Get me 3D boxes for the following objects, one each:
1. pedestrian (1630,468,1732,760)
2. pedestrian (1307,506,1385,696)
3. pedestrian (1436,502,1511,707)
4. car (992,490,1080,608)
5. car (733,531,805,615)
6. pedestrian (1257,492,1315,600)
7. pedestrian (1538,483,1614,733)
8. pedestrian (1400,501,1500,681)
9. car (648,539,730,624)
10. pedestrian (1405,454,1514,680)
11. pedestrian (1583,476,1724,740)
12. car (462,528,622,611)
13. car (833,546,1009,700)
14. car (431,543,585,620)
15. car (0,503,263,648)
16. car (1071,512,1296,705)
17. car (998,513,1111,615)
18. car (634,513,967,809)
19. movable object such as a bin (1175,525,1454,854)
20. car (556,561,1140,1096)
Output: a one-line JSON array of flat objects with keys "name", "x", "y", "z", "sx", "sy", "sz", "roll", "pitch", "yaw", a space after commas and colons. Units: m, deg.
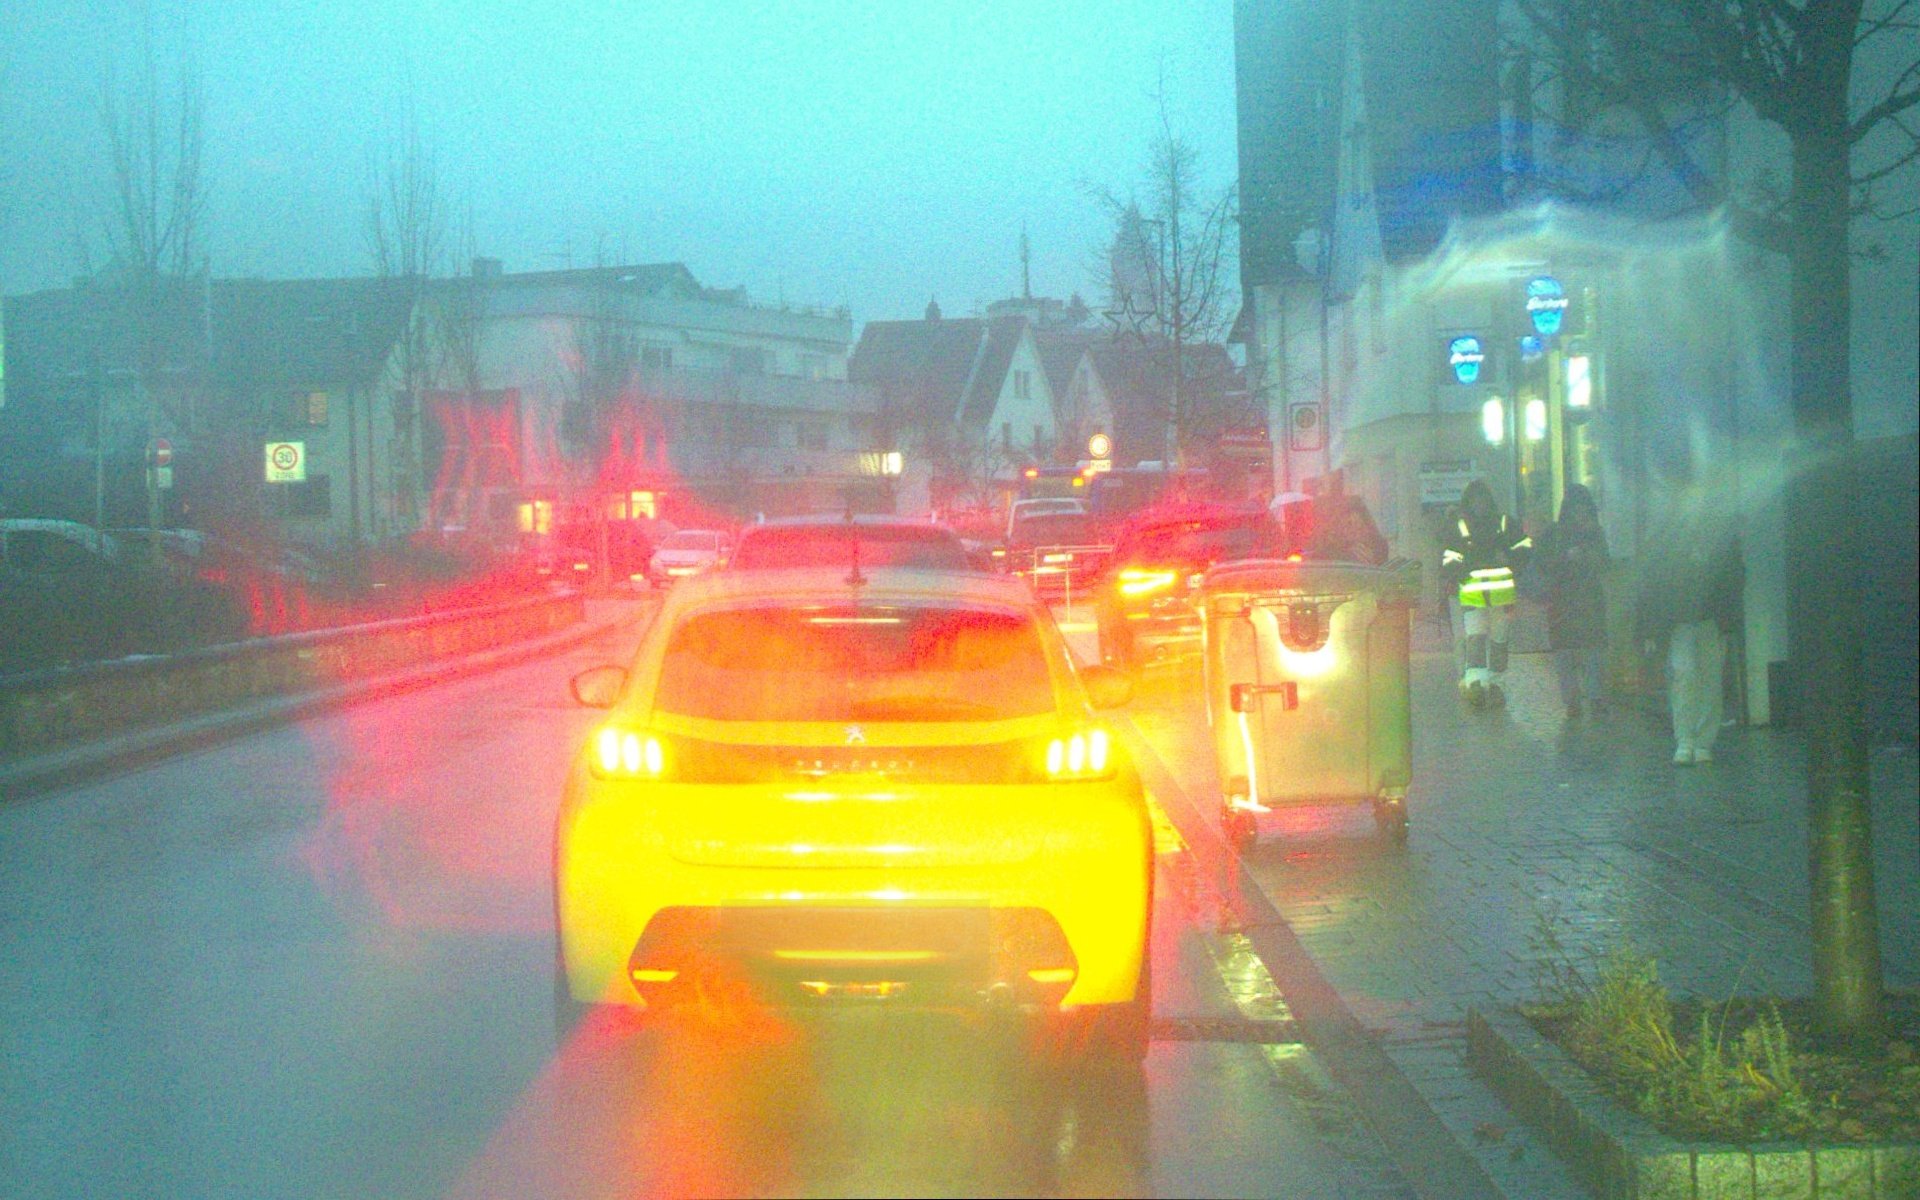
[{"name": "pedestrian", "x": 4.160, "y": 0.086, "z": 19.881, "sx": 0.529, "sy": 1.647, "sz": 0.953, "roll": 0, "pitch": -1, "yaw": 9}, {"name": "pedestrian", "x": 3.517, "y": 0.002, "z": 31.384, "sx": 0.573, "sy": 1.694, "sz": 0.653, "roll": -3, "pitch": 0, "yaw": 1}, {"name": "pedestrian", "x": 4.195, "y": 0.021, "z": 28.040, "sx": 0.480, "sy": 1.625, "sz": 1.018, "roll": -2, "pitch": 2, "yaw": 13}, {"name": "car", "x": 1.683, "y": -1.106, "z": 77.020, "sx": 1.870, "sy": 2.460, "sz": 4.443, "roll": 1, "pitch": -1, "yaw": 1}, {"name": "car", "x": -5.277, "y": -0.720, "z": 95.180, "sx": 1.919, "sy": 2.208, "sz": 3.975, "roll": 1, "pitch": -1, "yaw": -2}, {"name": "pedestrian", "x": 4.631, "y": -0.772, "z": 48.867, "sx": 0.618, "sy": 1.510, "sz": 0.734, "roll": -1, "pitch": 2, "yaw": -14}, {"name": "pedestrian", "x": 4.502, "y": 0.049, "z": 25.156, "sx": 0.529, "sy": 1.794, "sz": 0.864, "roll": 0, "pitch": 1, "yaw": 9}, {"name": "pedestrian", "x": 4.526, "y": -0.098, "z": 31.785, "sx": 0.618, "sy": 1.621, "sz": 0.907, "roll": -1, "pitch": 2, "yaw": -14}, {"name": "car", "x": -6.872, "y": -0.446, "z": 87.438, "sx": 1.919, "sy": 2.021, "sz": 3.975, "roll": 1, "pitch": -1, "yaw": -2}, {"name": "pedestrian", "x": 3.907, "y": -0.268, "z": 26.844, "sx": 0.712, "sy": 1.709, "sz": 1.034, "roll": -2, "pitch": 2, "yaw": 13}, {"name": "pedestrian", "x": 4.564, "y": 0.055, "z": 22.673, "sx": 0.747, "sy": 1.673, "sz": 1.052, "roll": -2, "pitch": 0, "yaw": 6}, {"name": "car", "x": -11.459, "y": -0.805, "z": 94.020, "sx": 4.383, "sy": 2.159, "sz": 1.995, "roll": -1, "pitch": -2, "yaw": 44}, {"name": "car", "x": -0.366, "y": 0.174, "z": 32.052, "sx": 1.541, "sy": 1.327, "sz": 3.311, "roll": 1, "pitch": 1, "yaw": -1}, {"name": "car", "x": -12.044, "y": -0.472, "z": 91.495, "sx": 4.166, "sy": 1.969, "sz": 1.818, "roll": 0, "pitch": -2, "yaw": 44}, {"name": "car", "x": -10.637, "y": -0.288, "z": 40.206, "sx": 4.625, "sy": 1.662, "sz": 2.000, "roll": 0, "pitch": 0, "yaw": -3}, {"name": "car", "x": 2.059, "y": 0.042, "z": 32.721, "sx": 1.735, "sy": 1.686, "sz": 4.386, "roll": -1, "pitch": 1, "yaw": -1}, {"name": "car", "x": 1.739, "y": -0.667, "z": 64.611, "sx": 1.997, "sy": 1.858, "sz": 4.083, "roll": 0, "pitch": 0, "yaw": 0}, {"name": "car", "x": -0.884, "y": 0.301, "z": 20.888, "sx": 1.766, "sy": 1.623, "sz": 3.586, "roll": 1, "pitch": 1, "yaw": 1}, {"name": "movable object such as a bin", "x": 1.657, "y": 0.394, "z": 16.362, "sx": 1.129, "sy": 1.415, "sz": 1.417, "roll": -4, "pitch": 2, "yaw": 2}, {"name": "car", "x": -0.318, "y": 0.601, "z": 10.794, "sx": 1.563, "sy": 1.408, "sz": 3.018, "roll": 1, "pitch": 1, "yaw": -1}]
